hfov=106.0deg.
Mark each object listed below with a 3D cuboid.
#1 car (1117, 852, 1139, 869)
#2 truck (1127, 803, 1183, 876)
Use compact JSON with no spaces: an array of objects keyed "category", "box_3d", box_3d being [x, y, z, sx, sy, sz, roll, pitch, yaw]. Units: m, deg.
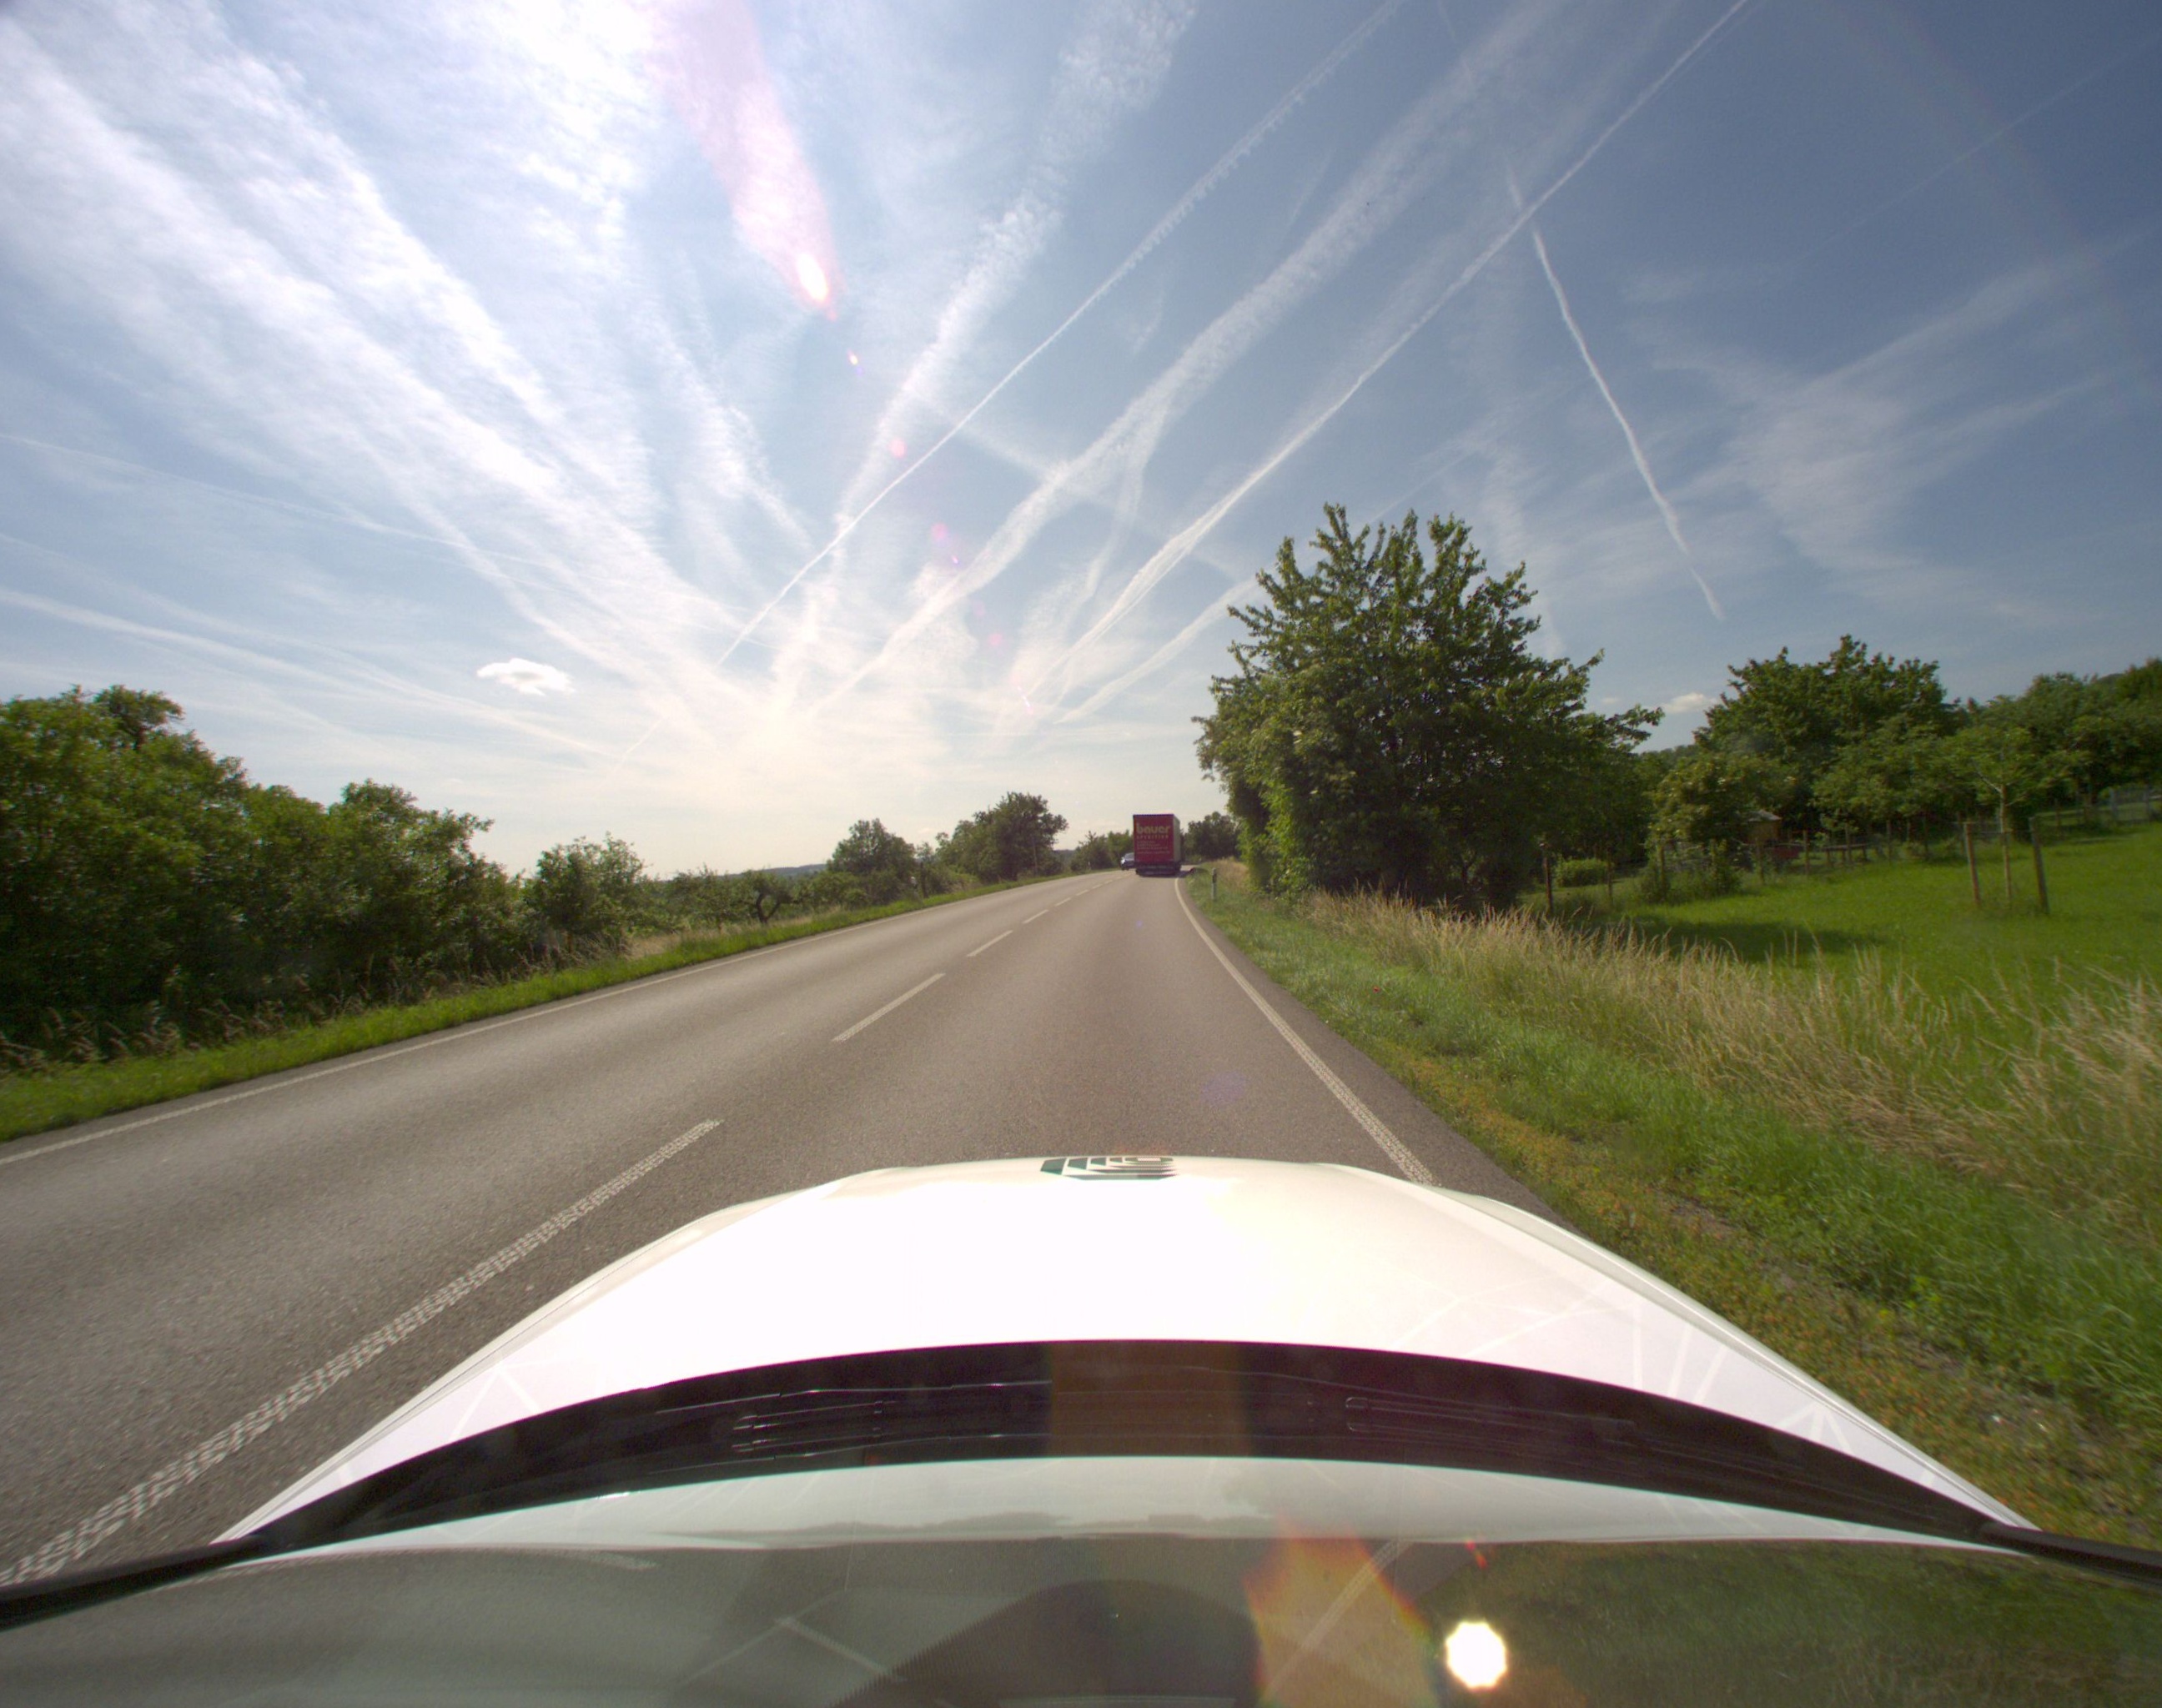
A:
[{"category":"car","box_3d":[4.509,0.582,77.688,1.869,1.593,4.500,-1,0,6]},{"category":"truck","box_3d":[5.367,-0.811,56.711,3.094,4.506,12.195,0,-1,9]}]
